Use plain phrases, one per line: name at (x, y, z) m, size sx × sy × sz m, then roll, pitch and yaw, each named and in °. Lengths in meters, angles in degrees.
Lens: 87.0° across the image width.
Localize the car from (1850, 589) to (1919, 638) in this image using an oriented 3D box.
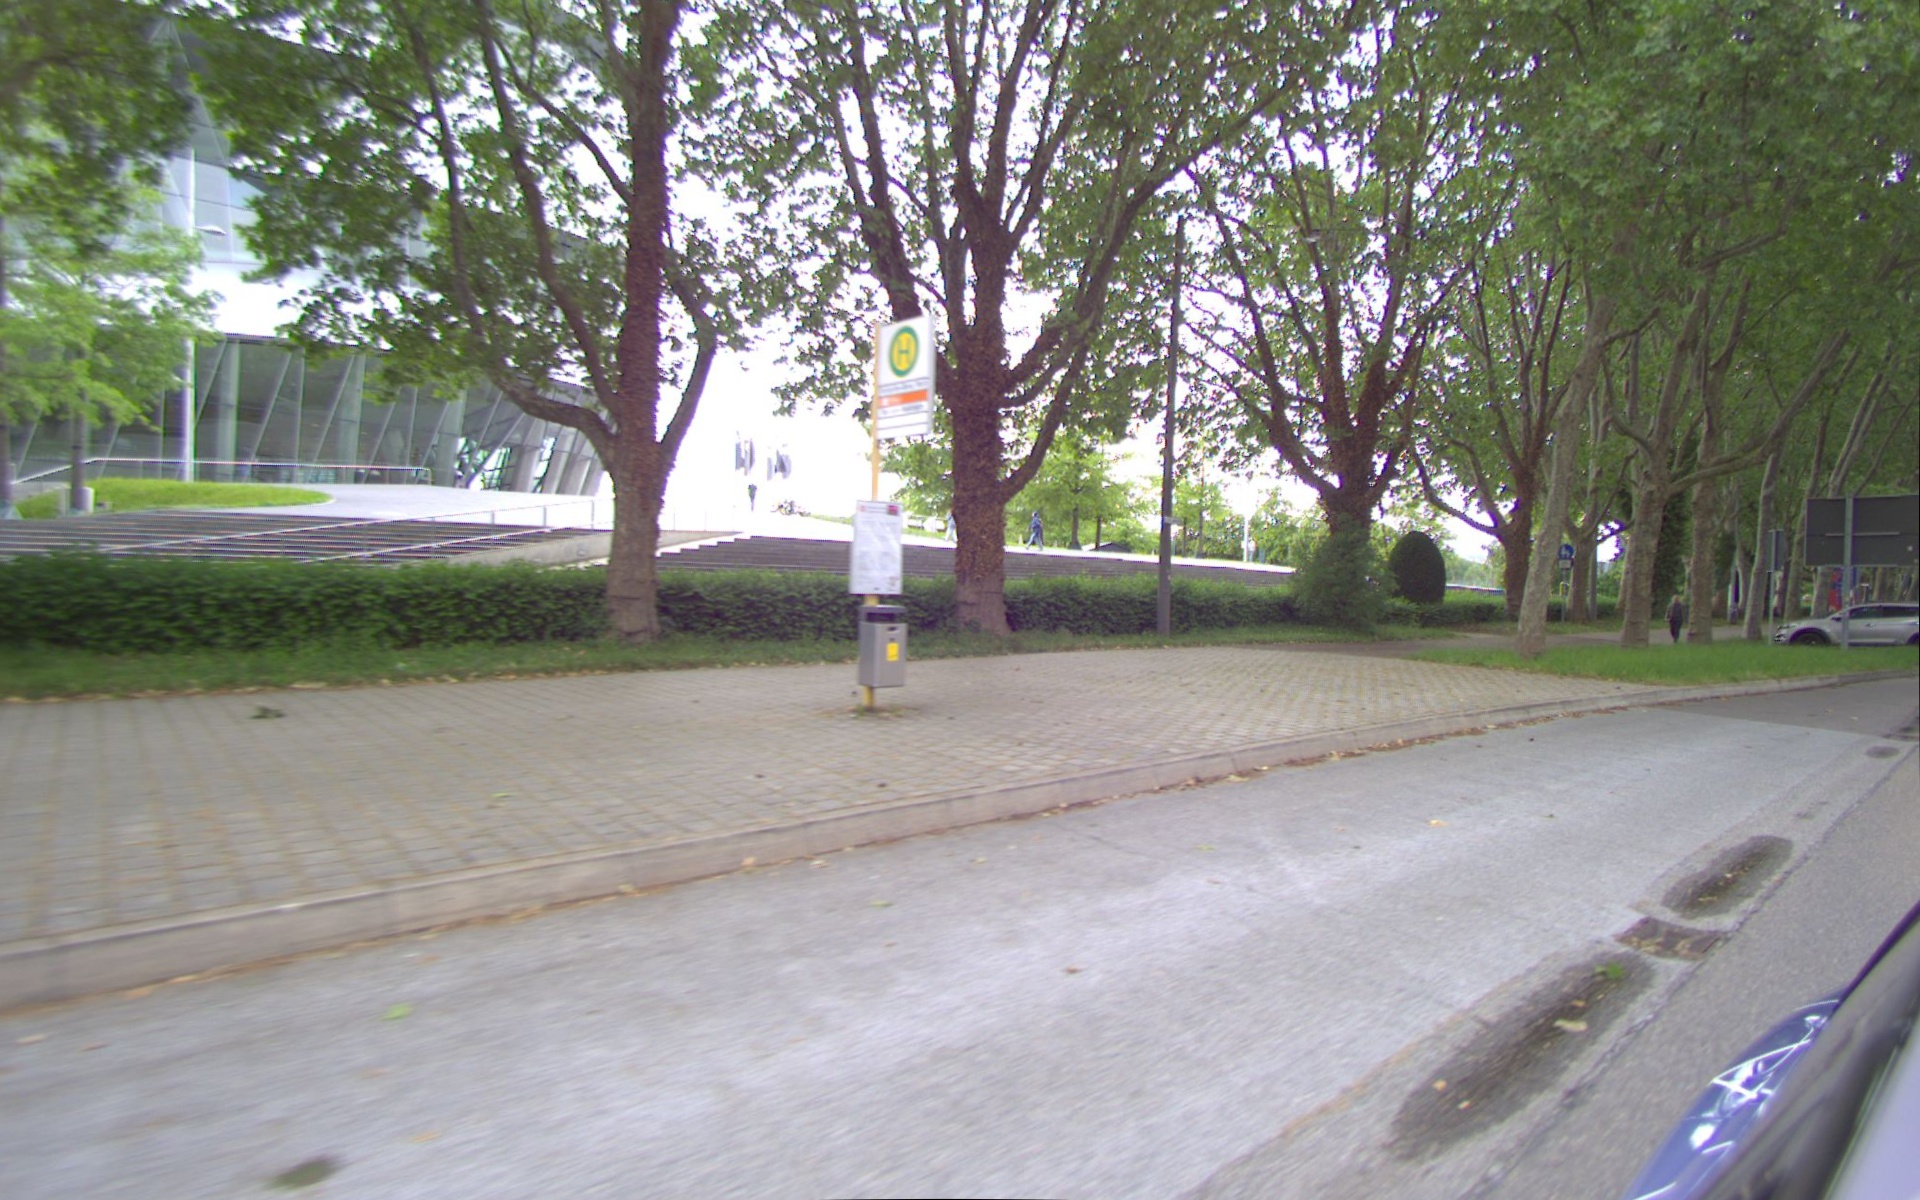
car at (36.468, 0.528, 38.046) m, size 1.893 × 1.782 × 4.351 m, roll 0°, pitch 2°, yaw -43°

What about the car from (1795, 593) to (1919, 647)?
car at (29.218, 0.625, 31.802) m, size 1.892 × 1.625 × 4.353 m, roll 1°, pitch 0°, yaw -41°

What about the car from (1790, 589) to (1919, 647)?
car at (27.475, 0.517, 29.888) m, size 1.892 × 1.654 × 4.353 m, roll 1°, pitch 0°, yaw -41°

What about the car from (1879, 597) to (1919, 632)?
car at (47.182, 0.718, 48.421) m, size 1.839 × 1.660 × 4.600 m, roll 1°, pitch 0°, yaw -40°

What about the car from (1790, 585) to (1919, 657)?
car at (27.324, 0.608, 29.957) m, size 1.965 × 2.039 × 3.993 m, roll 1°, pitch 0°, yaw -41°

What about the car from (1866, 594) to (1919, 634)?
car at (43.514, 0.620, 45.249) m, size 1.806 × 1.768 × 4.350 m, roll 1°, pitch 0°, yaw -43°

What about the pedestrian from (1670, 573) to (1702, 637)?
pedestrian at (23.653, 0.154, 32.971) m, size 0.781 × 2.039 × 0.592 m, roll 1°, pitch 1°, yaw 32°

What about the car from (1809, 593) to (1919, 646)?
car at (30.918, 0.637, 33.314) m, size 1.892 × 1.654 × 4.353 m, roll 1°, pitch 0°, yaw -41°

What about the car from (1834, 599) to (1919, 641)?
car at (34.615, 0.716, 36.632) m, size 1.917 × 1.474 × 4.350 m, roll 1°, pitch 0°, yaw -43°
